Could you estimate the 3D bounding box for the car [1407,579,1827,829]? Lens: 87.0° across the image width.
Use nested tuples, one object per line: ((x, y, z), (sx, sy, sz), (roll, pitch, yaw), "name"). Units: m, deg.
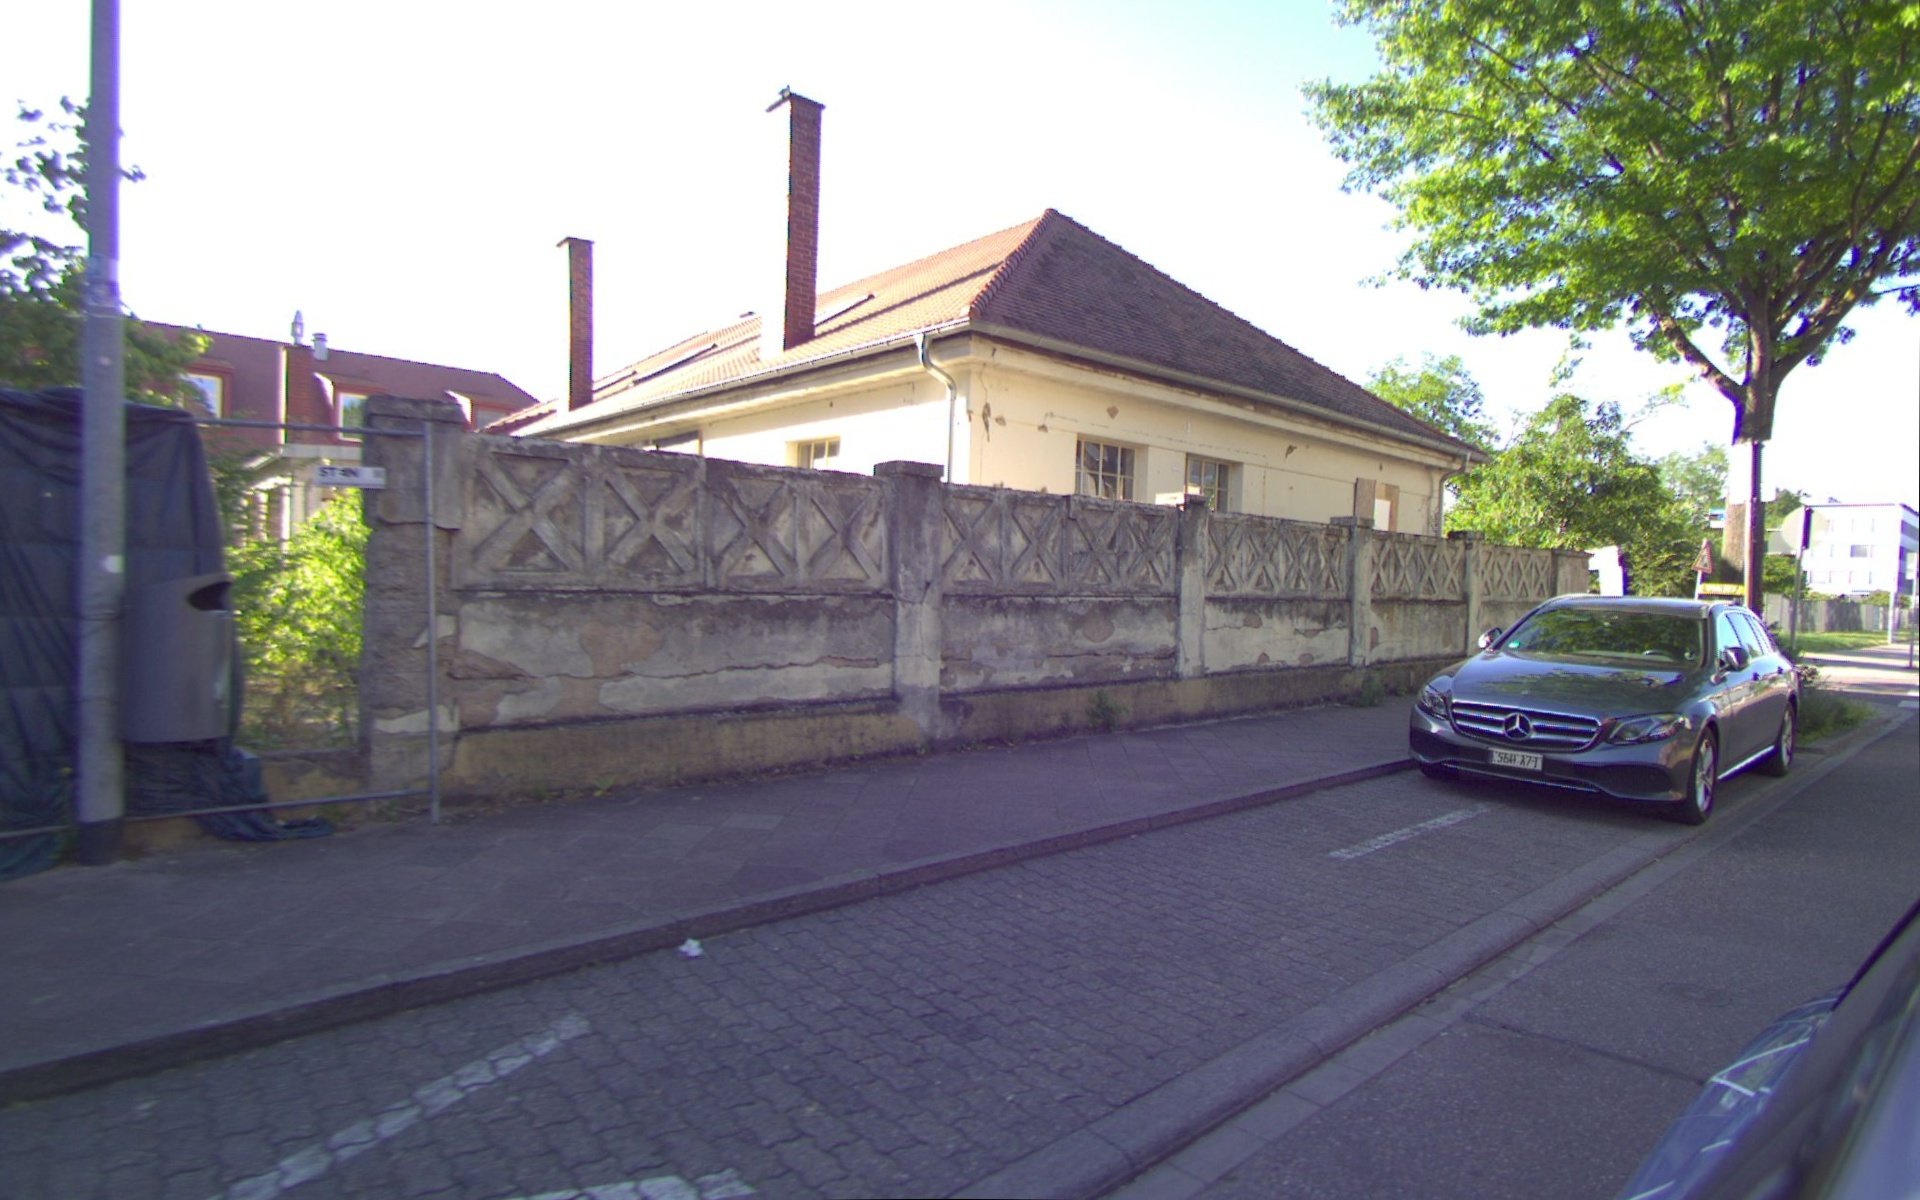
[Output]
((5.588, 0.625, 8.315), (4.706, 1.487, 1.706), (0, 1, -42), "car")
